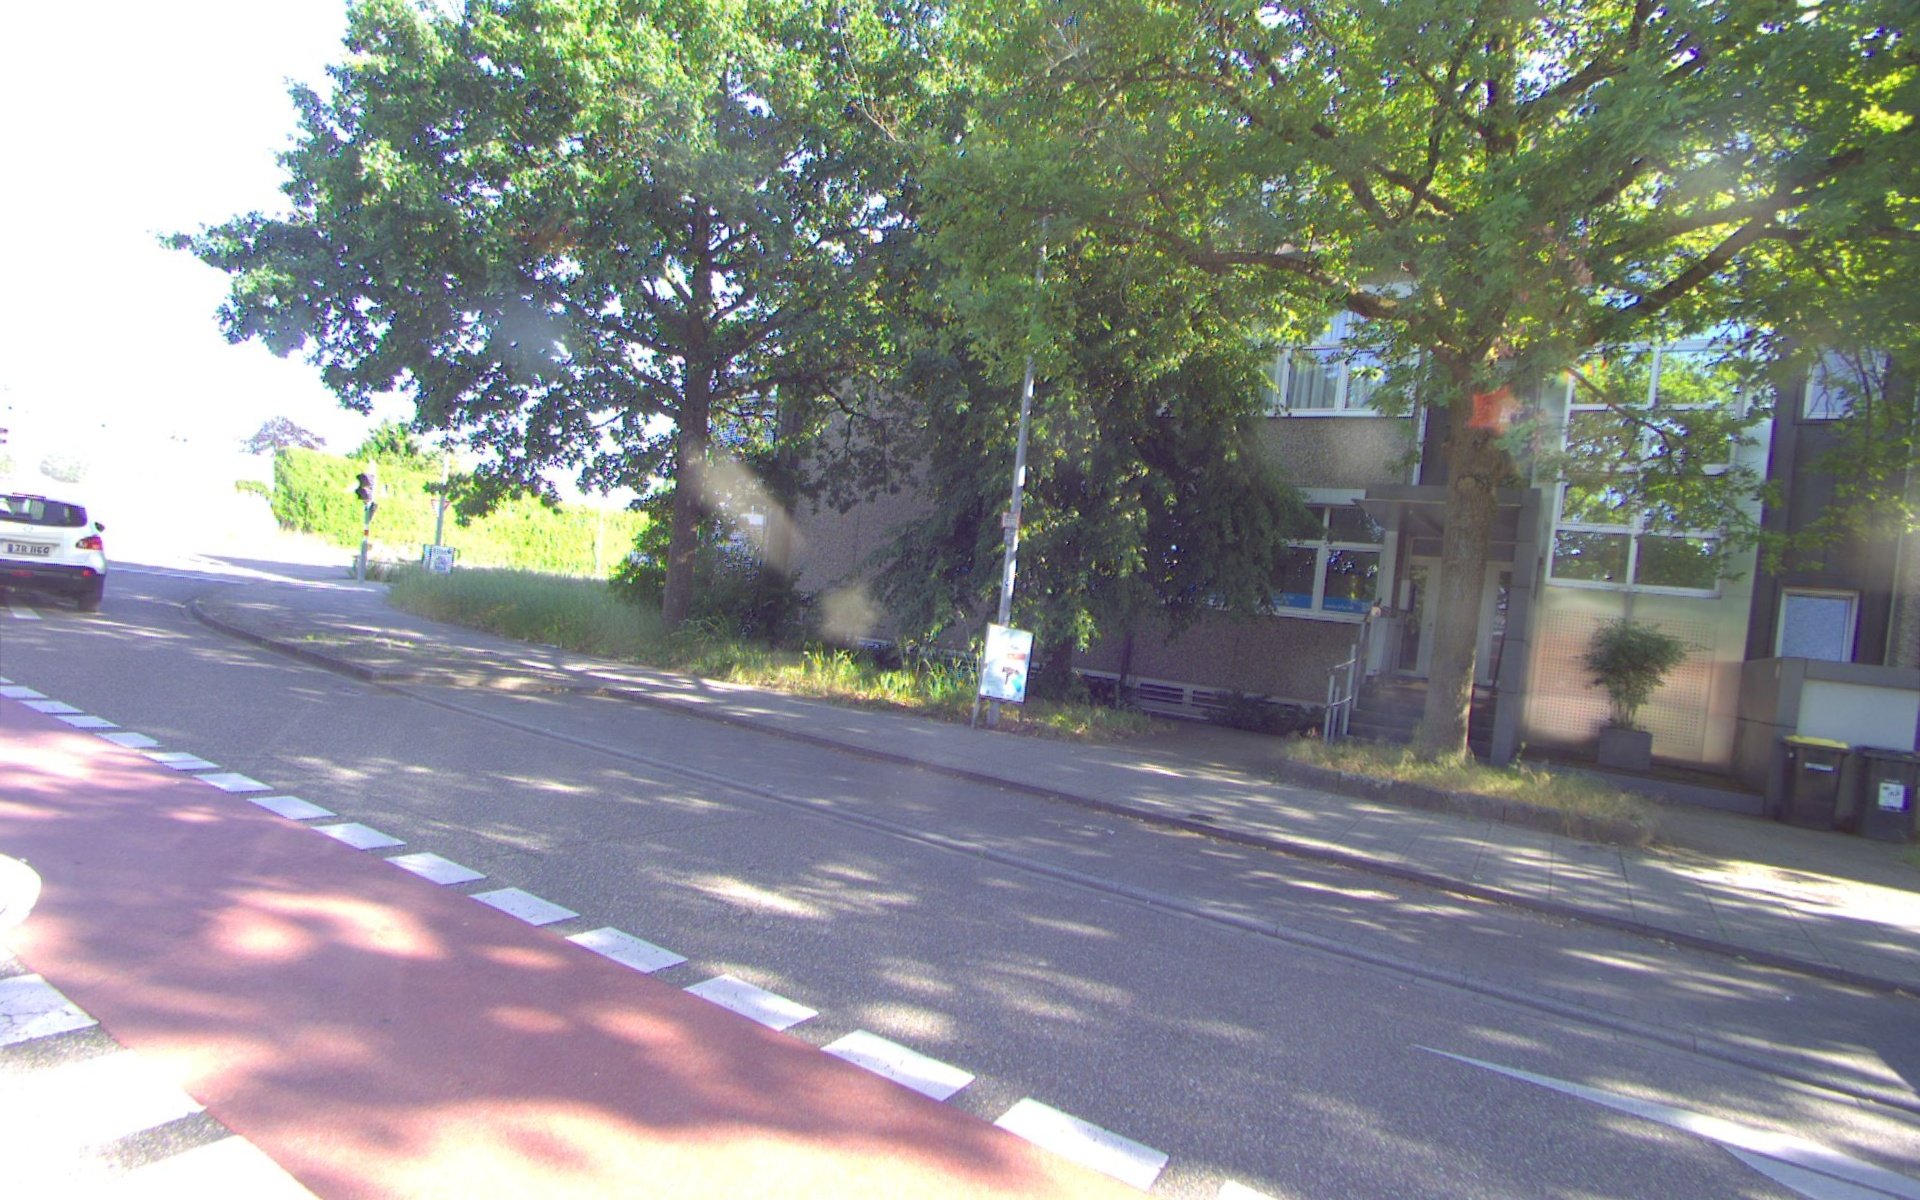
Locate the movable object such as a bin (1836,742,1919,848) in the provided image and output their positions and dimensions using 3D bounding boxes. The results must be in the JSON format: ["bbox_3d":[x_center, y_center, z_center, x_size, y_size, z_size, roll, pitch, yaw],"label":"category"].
[{"bbox_3d":[10.753,2.253,11.725,0.605,1.075,0.634,6,0,30],"label":"movable object such as a bin"}]

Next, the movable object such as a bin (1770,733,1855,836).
[{"bbox_3d":[10.165,2.185,12.019,0.575,1.070,0.625,7,0,30],"label":"movable object such as a bin"}]

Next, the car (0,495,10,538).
[{"bbox_3d":[-43.910,-3.955,43.508,3.978,1.836,1.899,9,-3,-44],"label":"car"}]

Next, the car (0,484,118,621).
[{"bbox_3d":[-13.494,-0.785,14.296,4.012,1.626,1.715,6,-1,43],"label":"car"}]
